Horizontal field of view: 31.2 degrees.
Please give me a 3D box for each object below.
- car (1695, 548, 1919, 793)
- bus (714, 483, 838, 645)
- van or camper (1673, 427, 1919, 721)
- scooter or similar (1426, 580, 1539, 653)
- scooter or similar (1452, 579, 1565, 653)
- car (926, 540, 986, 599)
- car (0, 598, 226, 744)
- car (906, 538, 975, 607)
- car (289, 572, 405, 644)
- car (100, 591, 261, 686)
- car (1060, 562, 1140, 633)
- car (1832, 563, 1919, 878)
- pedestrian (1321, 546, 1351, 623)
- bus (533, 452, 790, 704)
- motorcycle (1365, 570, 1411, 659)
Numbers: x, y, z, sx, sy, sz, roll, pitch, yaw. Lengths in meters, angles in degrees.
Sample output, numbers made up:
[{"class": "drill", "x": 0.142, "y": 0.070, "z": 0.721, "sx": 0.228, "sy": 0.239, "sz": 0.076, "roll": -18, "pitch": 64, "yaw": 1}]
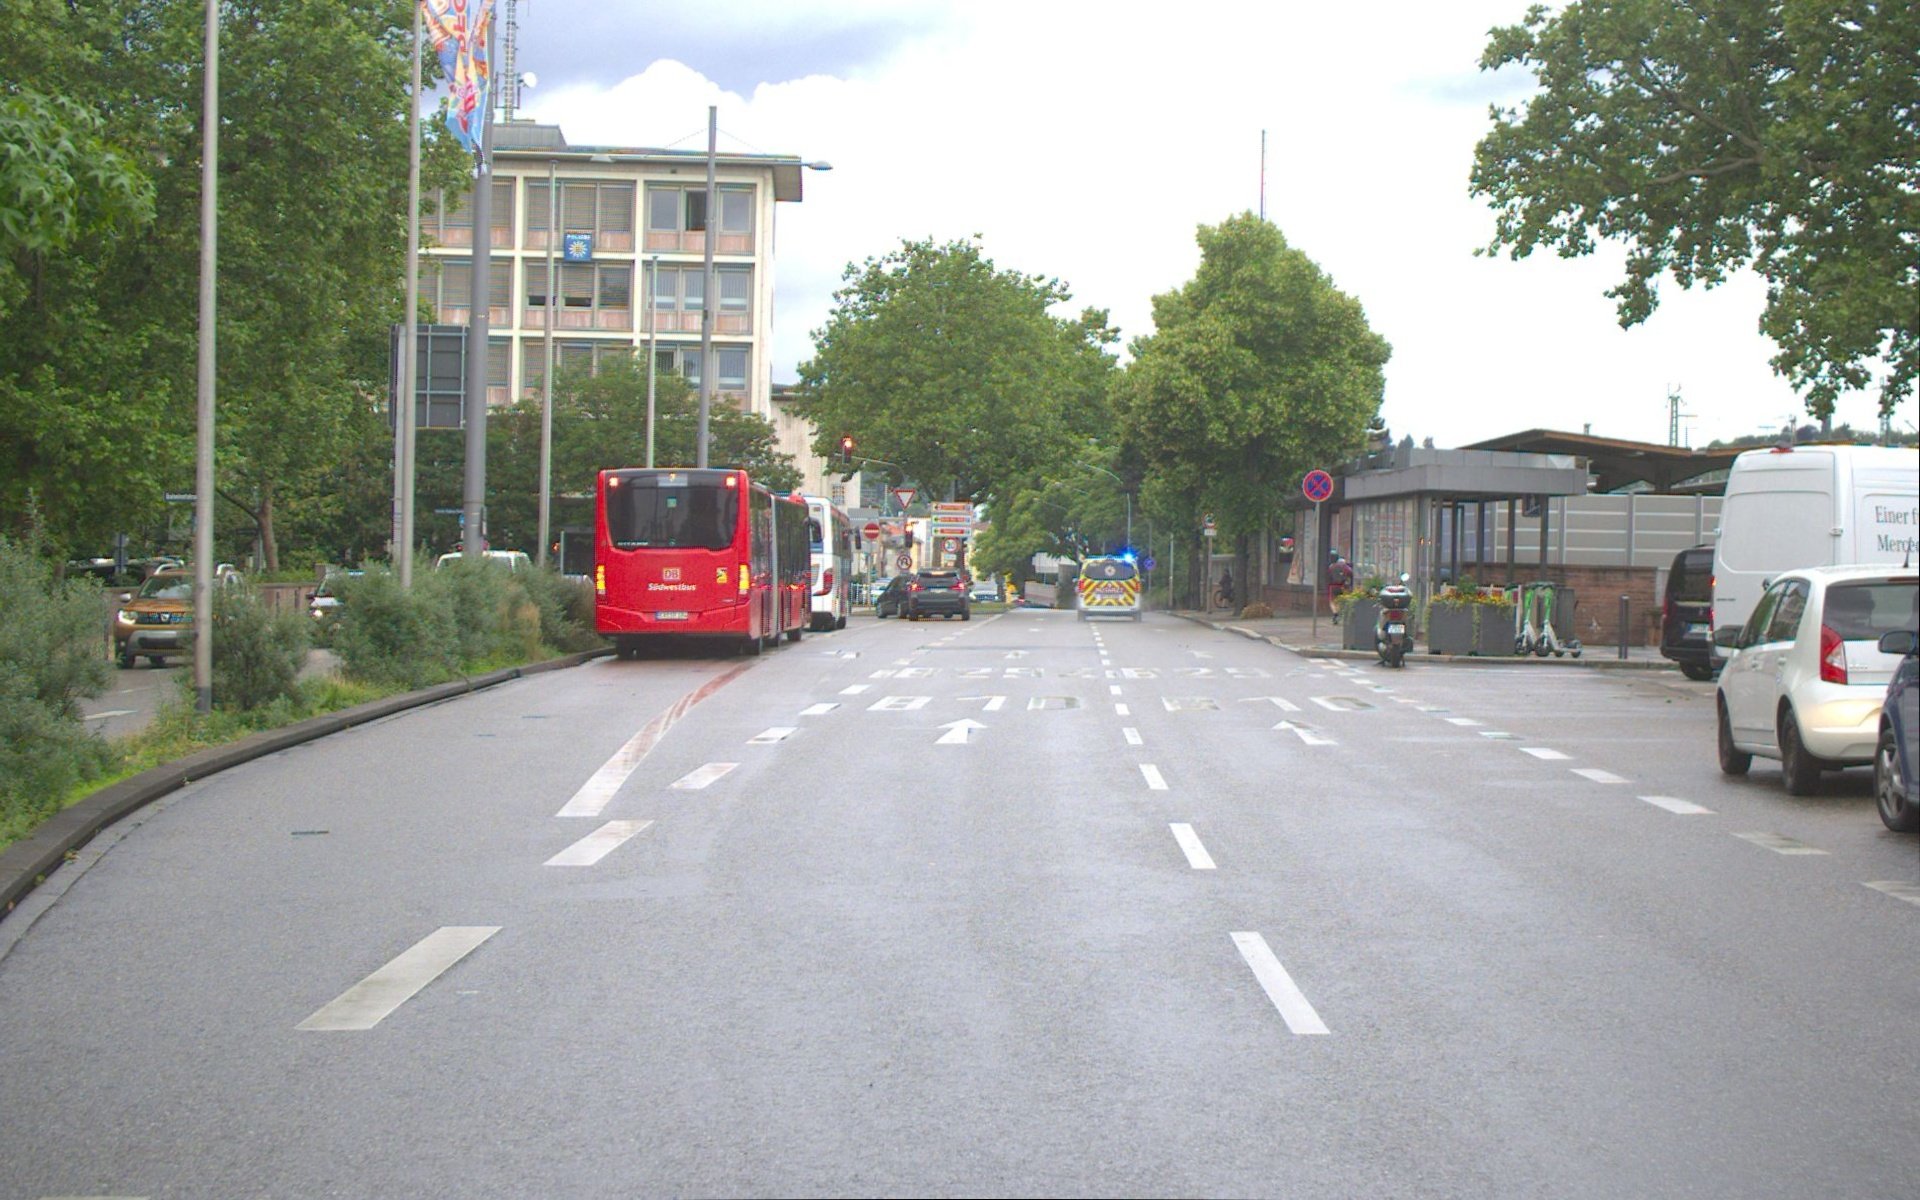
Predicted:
[{"class": "car", "x": 6.127, "y": 0.432, "z": 23.161, "sx": 1.788, "sy": 1.517, "sz": 3.681, "roll": 0, "pitch": 0, "yaw": 4}, {"class": "bus", "x": -4.536, "y": -0.895, "z": 85.520, "sx": 2.805, "sy": 3.734, "sz": 10.446, "roll": -1, "pitch": 1, "yaw": -3}, {"class": "van or camper", "x": 10.262, "y": -0.321, "z": 34.581, "sx": 5.946, "sy": 2.753, "sz": 2.199, "roll": -2, "pitch": 1, "yaw": -28}, {"class": "scooter or similar", "x": 8.243, "y": 0.249, "z": 54.173, "sx": 2.145, "sy": 1.106, "sz": 0.427, "roll": -2, "pitch": 1, "yaw": -40}, {"class": "scooter or similar", "x": 8.592, "y": 0.242, "z": 53.809, "sx": 2.145, "sy": 1.106, "sz": 0.443, "roll": -2, "pitch": 1, "yaw": -40}, {"class": "car", "x": -0.153, "y": -1.066, "z": 120.291, "sx": 1.993, "sy": 2.007, "sz": 4.000, "roll": -1, "pitch": 1, "yaw": -1}, {"class": "car", "x": -9.259, "y": 0.727, "z": 37.315, "sx": 1.747, "sy": 1.425, "sz": 3.953, "roll": -1, "pitch": 1, "yaw": -1}, {"class": "car", "x": -0.608, "y": -0.842, "z": 104.768, "sx": 1.993, "sy": 2.007, "sz": 4.000, "roll": -1, "pitch": 1, "yaw": -1}, {"class": "car", "x": -12.840, "y": 0.152, "z": 72.239, "sx": 1.747, "sy": 1.425, "sz": 3.953, "roll": -1, "pitch": 1, "yaw": -1}, {"class": "car", "x": -12.738, "y": 0.603, "z": 56.361, "sx": 1.747, "sy": 1.425, "sz": 3.953, "roll": -1, "pitch": 1, "yaw": -1}, {"class": "car", "x": 4.149, "y": -0.100, "z": 102.808, "sx": 1.993, "sy": 2.007, "sz": 5.062, "roll": -1, "pitch": 1, "yaw": -2}, {"class": "car", "x": 5.709, "y": 0.596, "z": 17.201, "sx": 1.859, "sy": 1.564, "sz": 4.000, "roll": 0, "pitch": 0, "yaw": 3}, {"class": "pedestrian", "x": 8.955, "y": -0.367, "z": 81.841, "sx": 0.622, "sy": 1.810, "sz": 0.598, "roll": -1, "pitch": 1, "yaw": -1}, {"class": "bus", "x": -5.077, "y": -0.414, "z": 60.913, "sx": 3.545, "sy": 3.966, "sz": 11.172, "roll": -1, "pitch": 1, "yaw": 0}, {"class": "motorcycle", "x": 6.398, "y": 0.209, "z": 51.441, "sx": 0.595, "sy": 1.284, "sz": 1.953, "roll": -1, "pitch": 1, "yaw": 5}]
